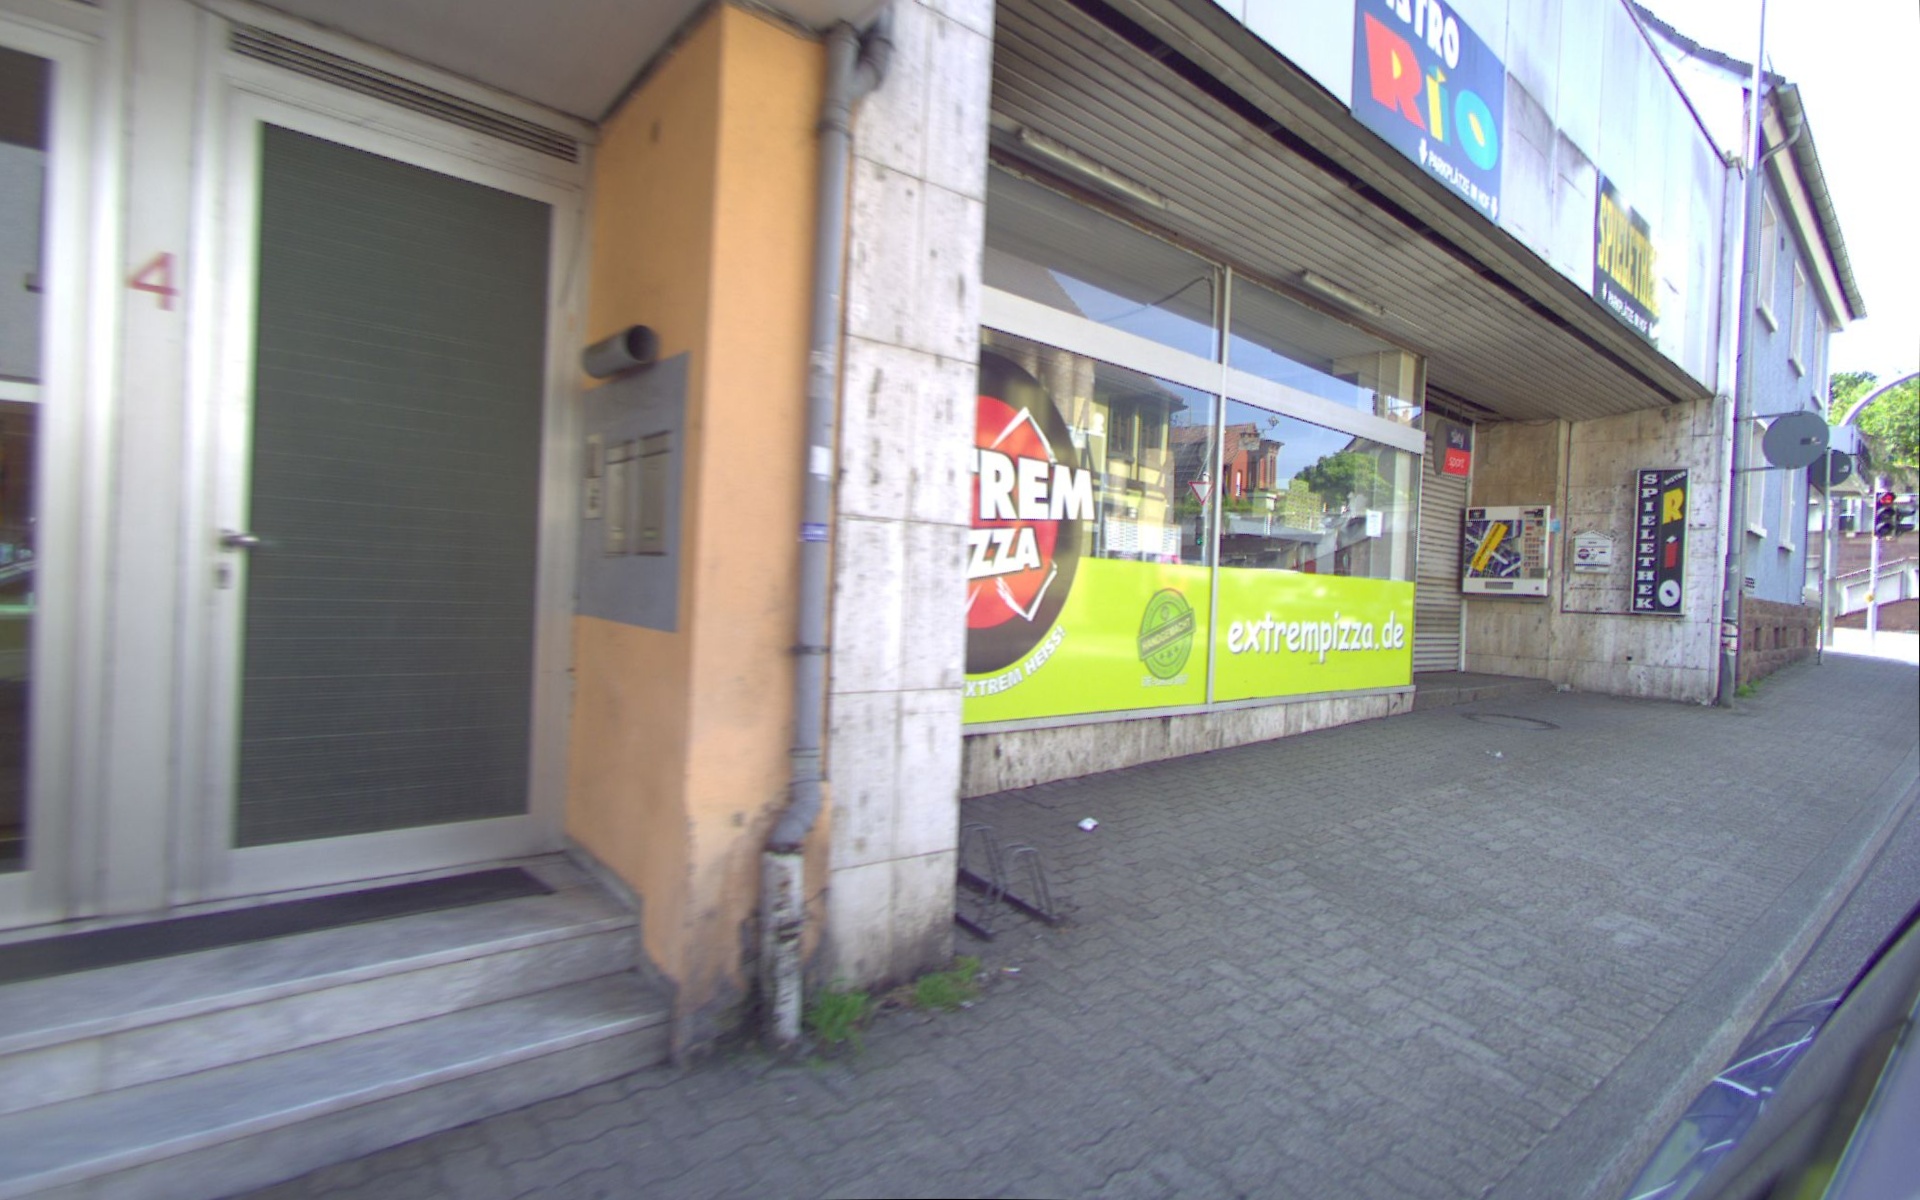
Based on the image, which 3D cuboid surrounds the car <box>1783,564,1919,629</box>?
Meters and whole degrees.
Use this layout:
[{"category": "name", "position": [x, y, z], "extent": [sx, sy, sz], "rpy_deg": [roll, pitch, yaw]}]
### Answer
[{"category": "car", "position": [30.781, -0.086, 33.397], "extent": [2.106, 1.991, 5.273], "rpy_deg": [2, 2, -40]}]
